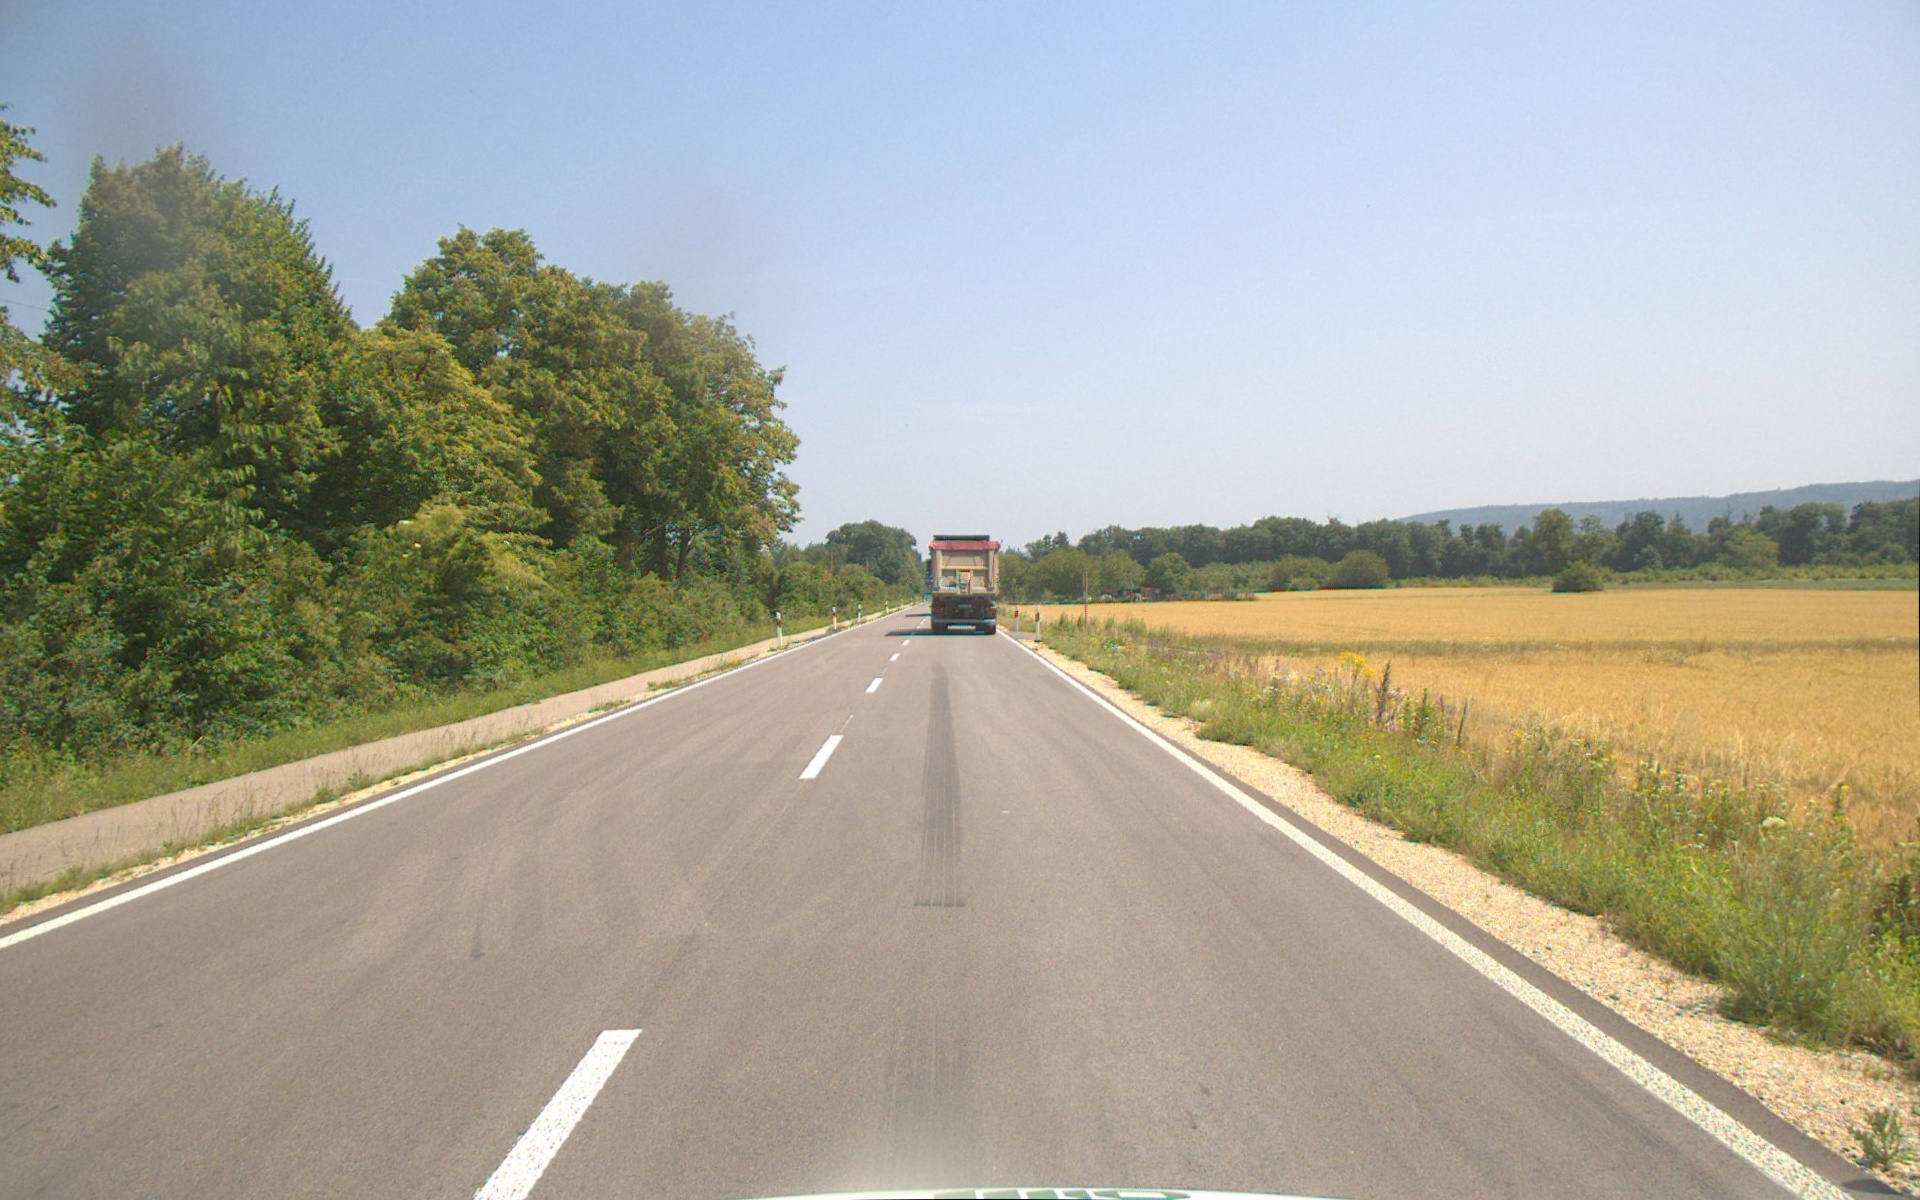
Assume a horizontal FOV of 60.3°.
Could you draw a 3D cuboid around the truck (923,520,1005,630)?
[{"bbox_3d":[0.080,-0.886,66.351,2.948,3.942,12.207,1,0,-1],"label":"truck"}]
